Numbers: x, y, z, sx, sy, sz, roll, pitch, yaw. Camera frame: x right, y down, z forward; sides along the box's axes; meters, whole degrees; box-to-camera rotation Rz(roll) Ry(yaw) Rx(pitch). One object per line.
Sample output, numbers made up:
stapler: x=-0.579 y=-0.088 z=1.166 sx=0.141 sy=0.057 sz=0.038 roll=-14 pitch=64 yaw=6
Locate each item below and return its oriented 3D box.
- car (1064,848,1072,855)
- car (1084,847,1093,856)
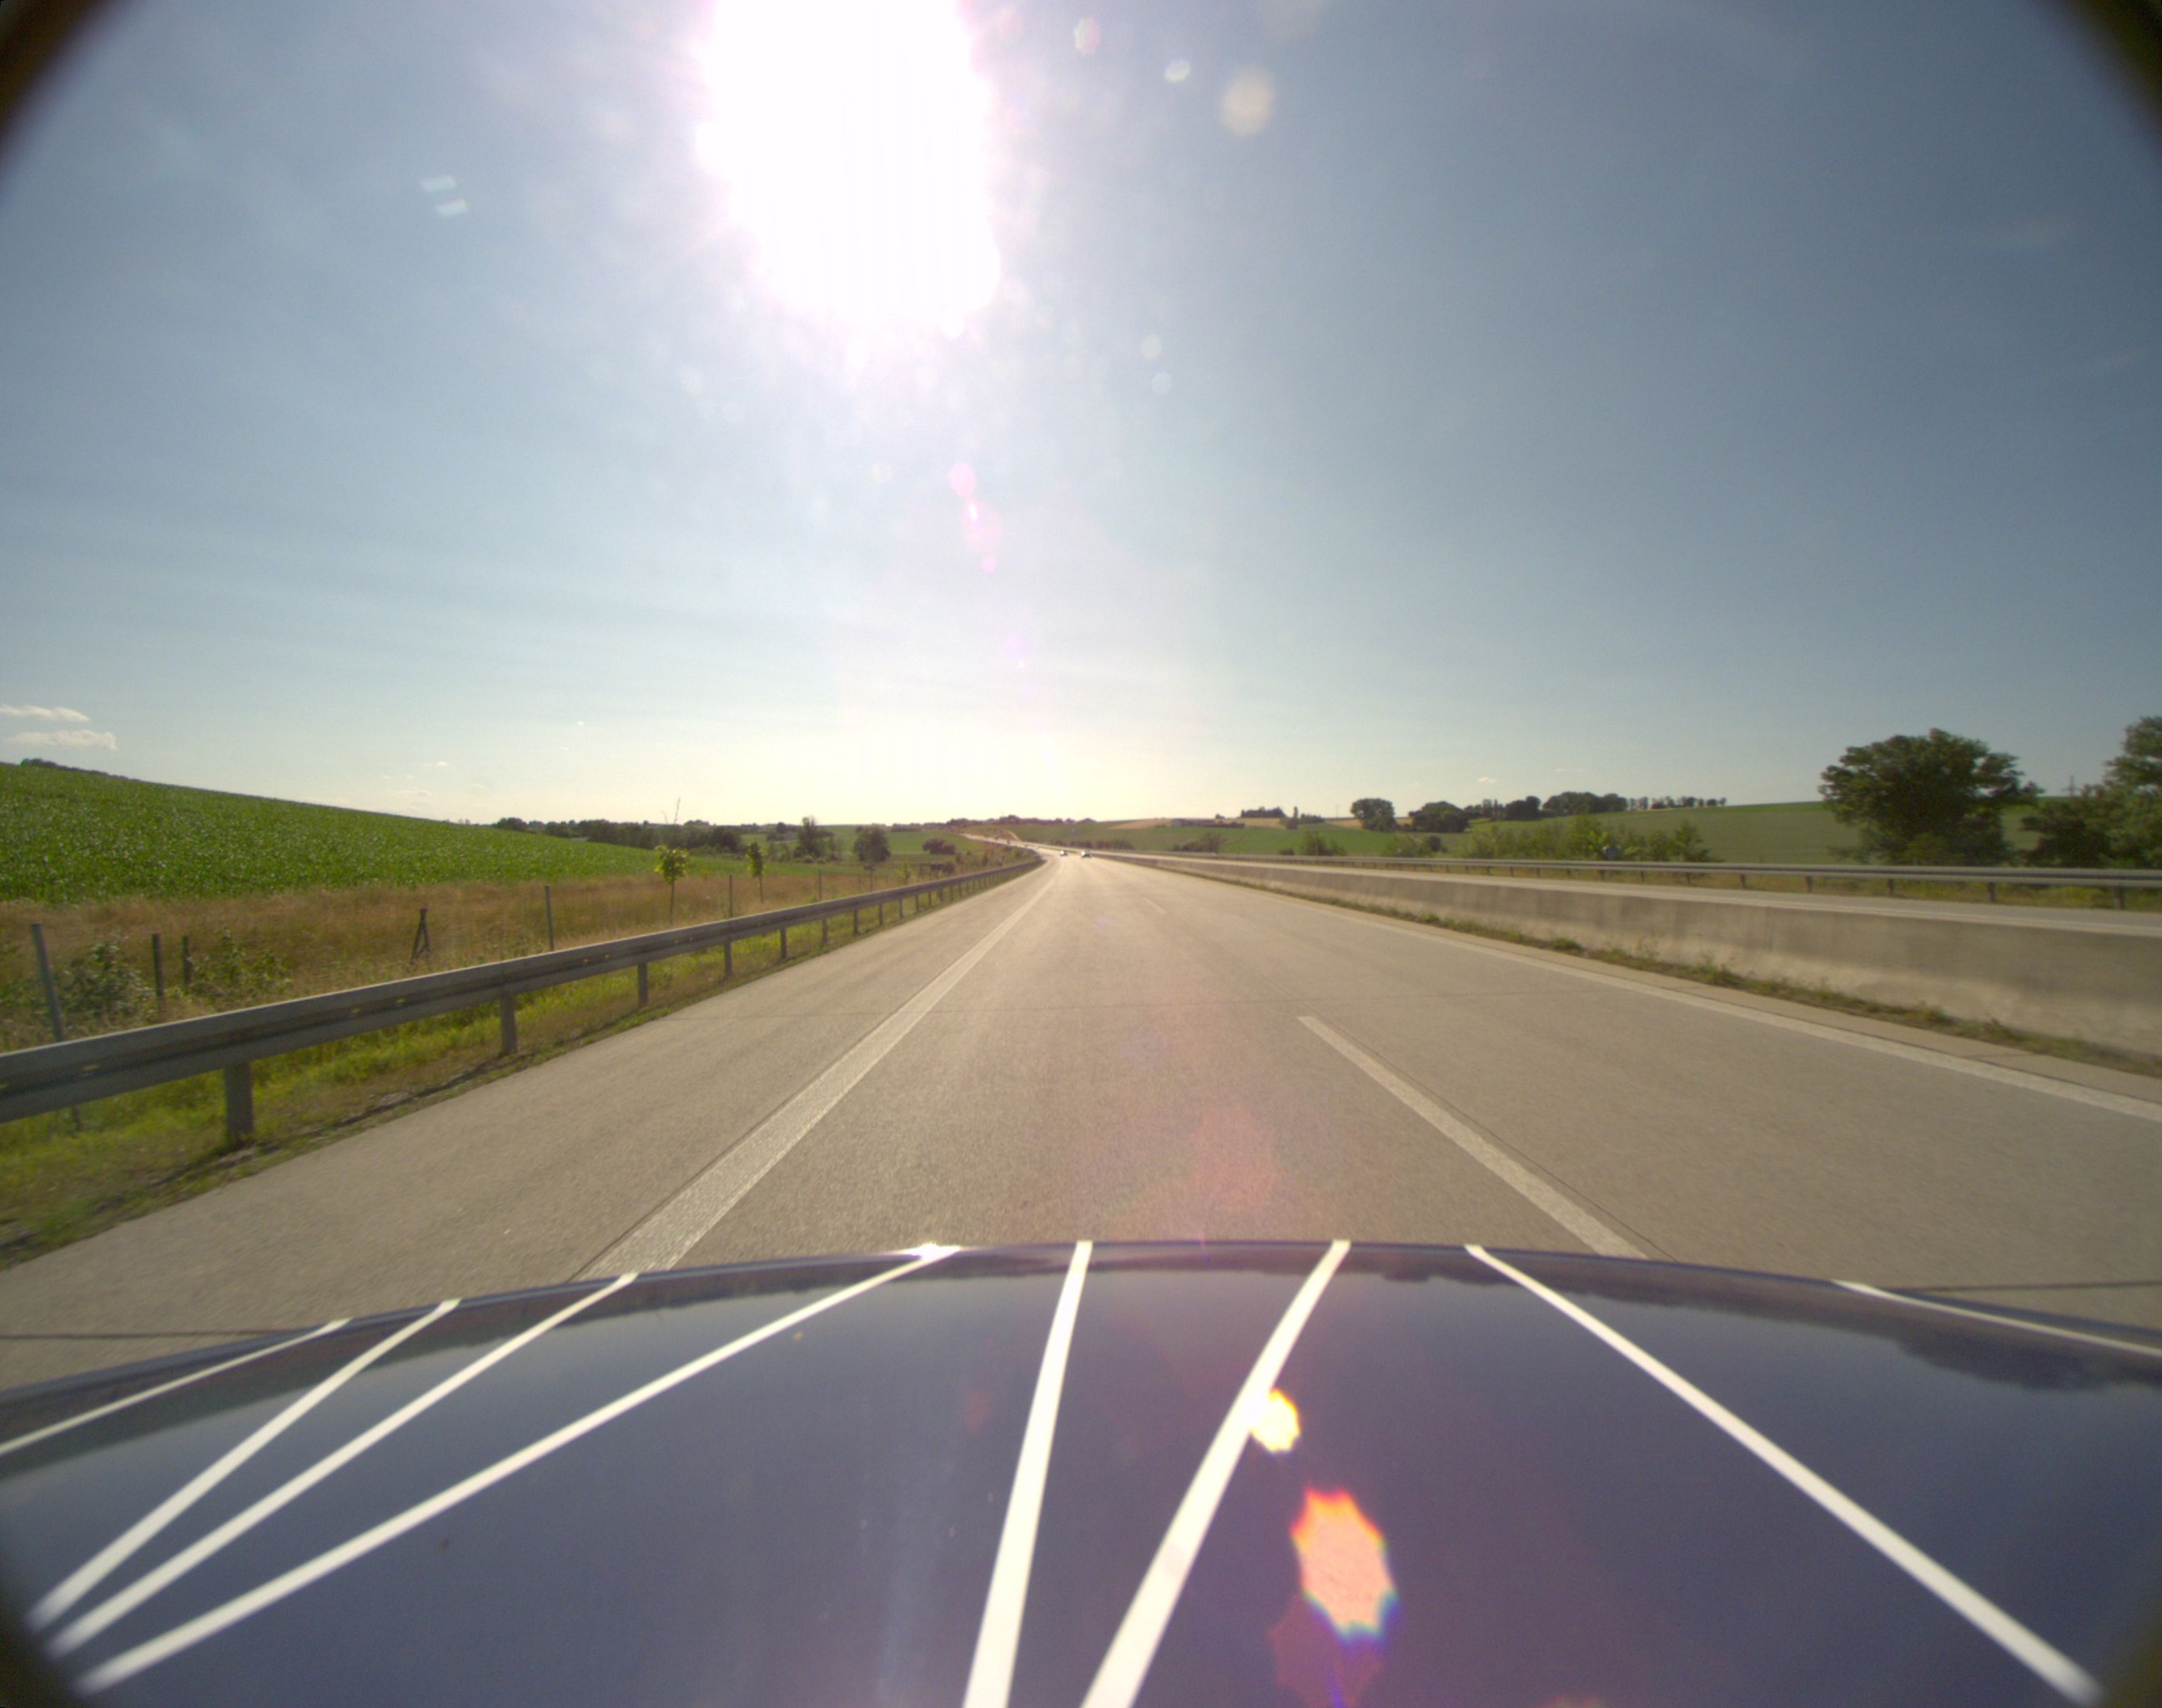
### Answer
car: x=-3.434 y=-0.782 z=203.843 sx=1.715 sy=1.581 sz=4.623 roll=-3 pitch=3 yaw=-4
car: x=1.594 y=-0.546 z=156.738 sx=1.715 sy=1.581 sz=4.625 roll=-2 pitch=3 yaw=1
